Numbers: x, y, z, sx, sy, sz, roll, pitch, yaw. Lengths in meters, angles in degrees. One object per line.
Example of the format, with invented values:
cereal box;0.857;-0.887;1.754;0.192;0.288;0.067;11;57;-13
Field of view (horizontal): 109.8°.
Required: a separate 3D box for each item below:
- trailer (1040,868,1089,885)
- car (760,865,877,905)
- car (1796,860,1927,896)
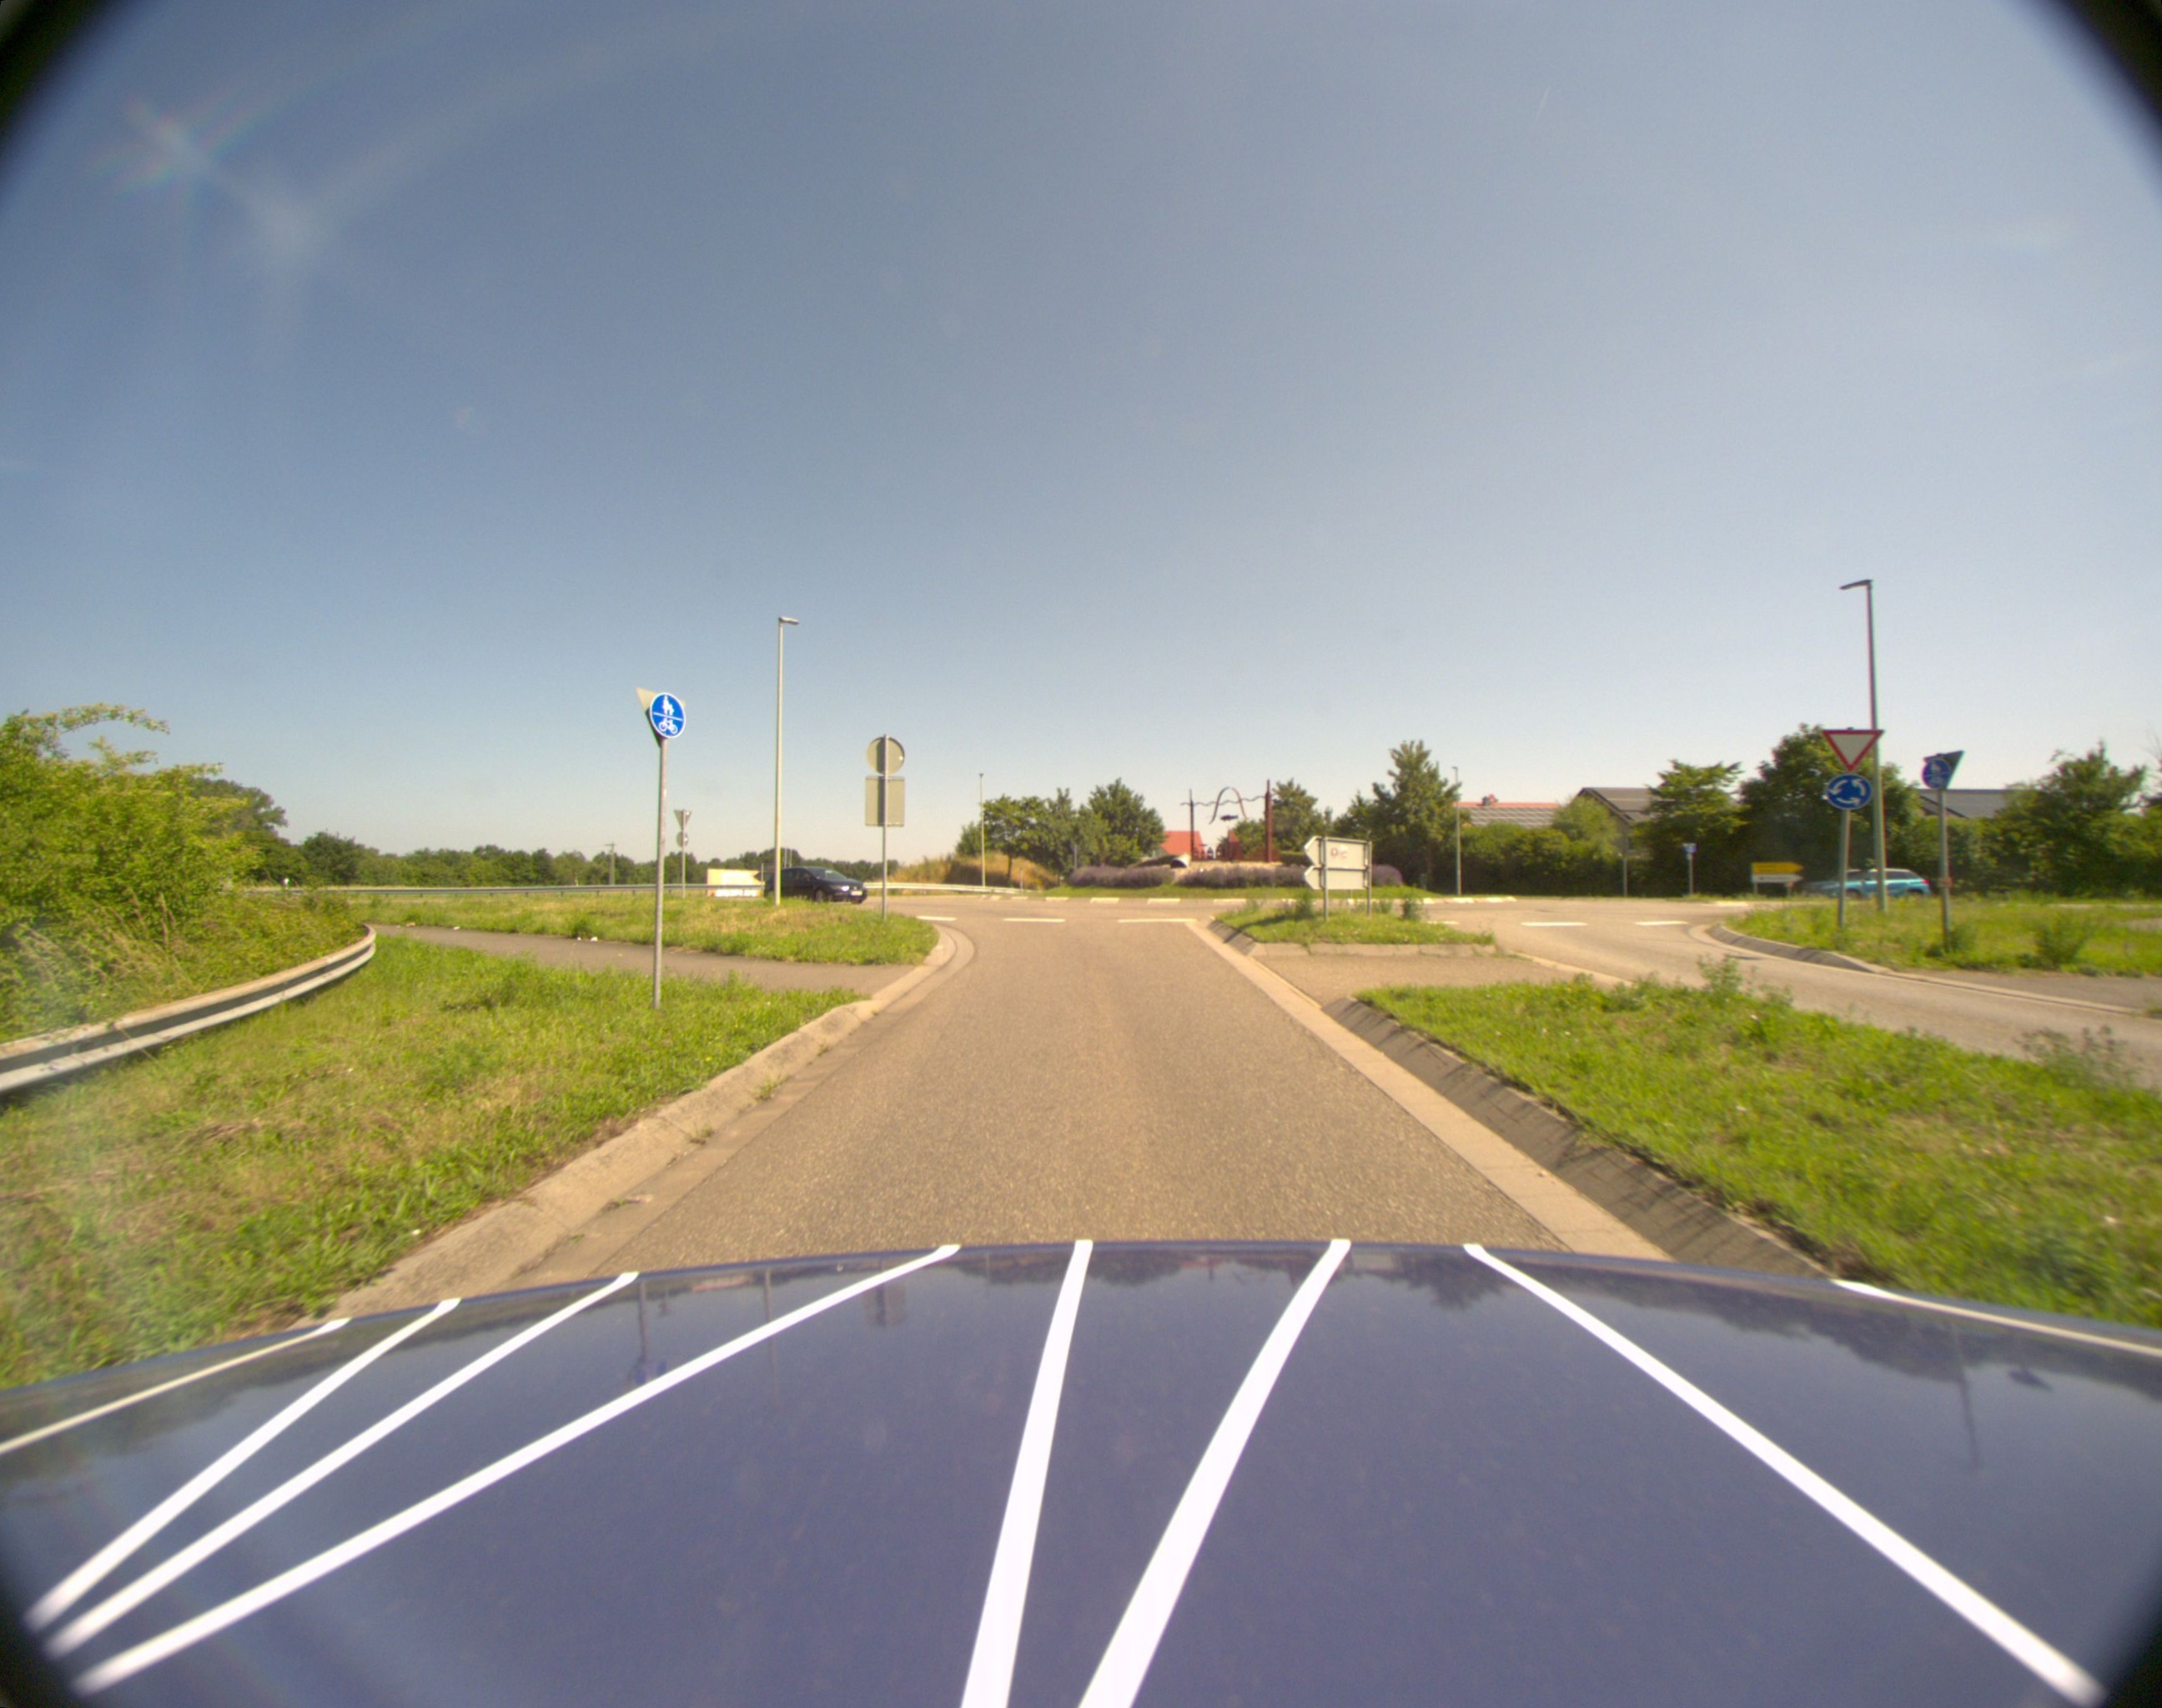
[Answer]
trailer;-2.489;3.178;108.392;2.003;2.264;10.467;0;-1;-32
car;-9.723;1.117;28.076;4.169;1.389;1.812;-1;-1;30
car;34.903;1.058;34.066;3.995;1.567;1.650;0;-1;5
